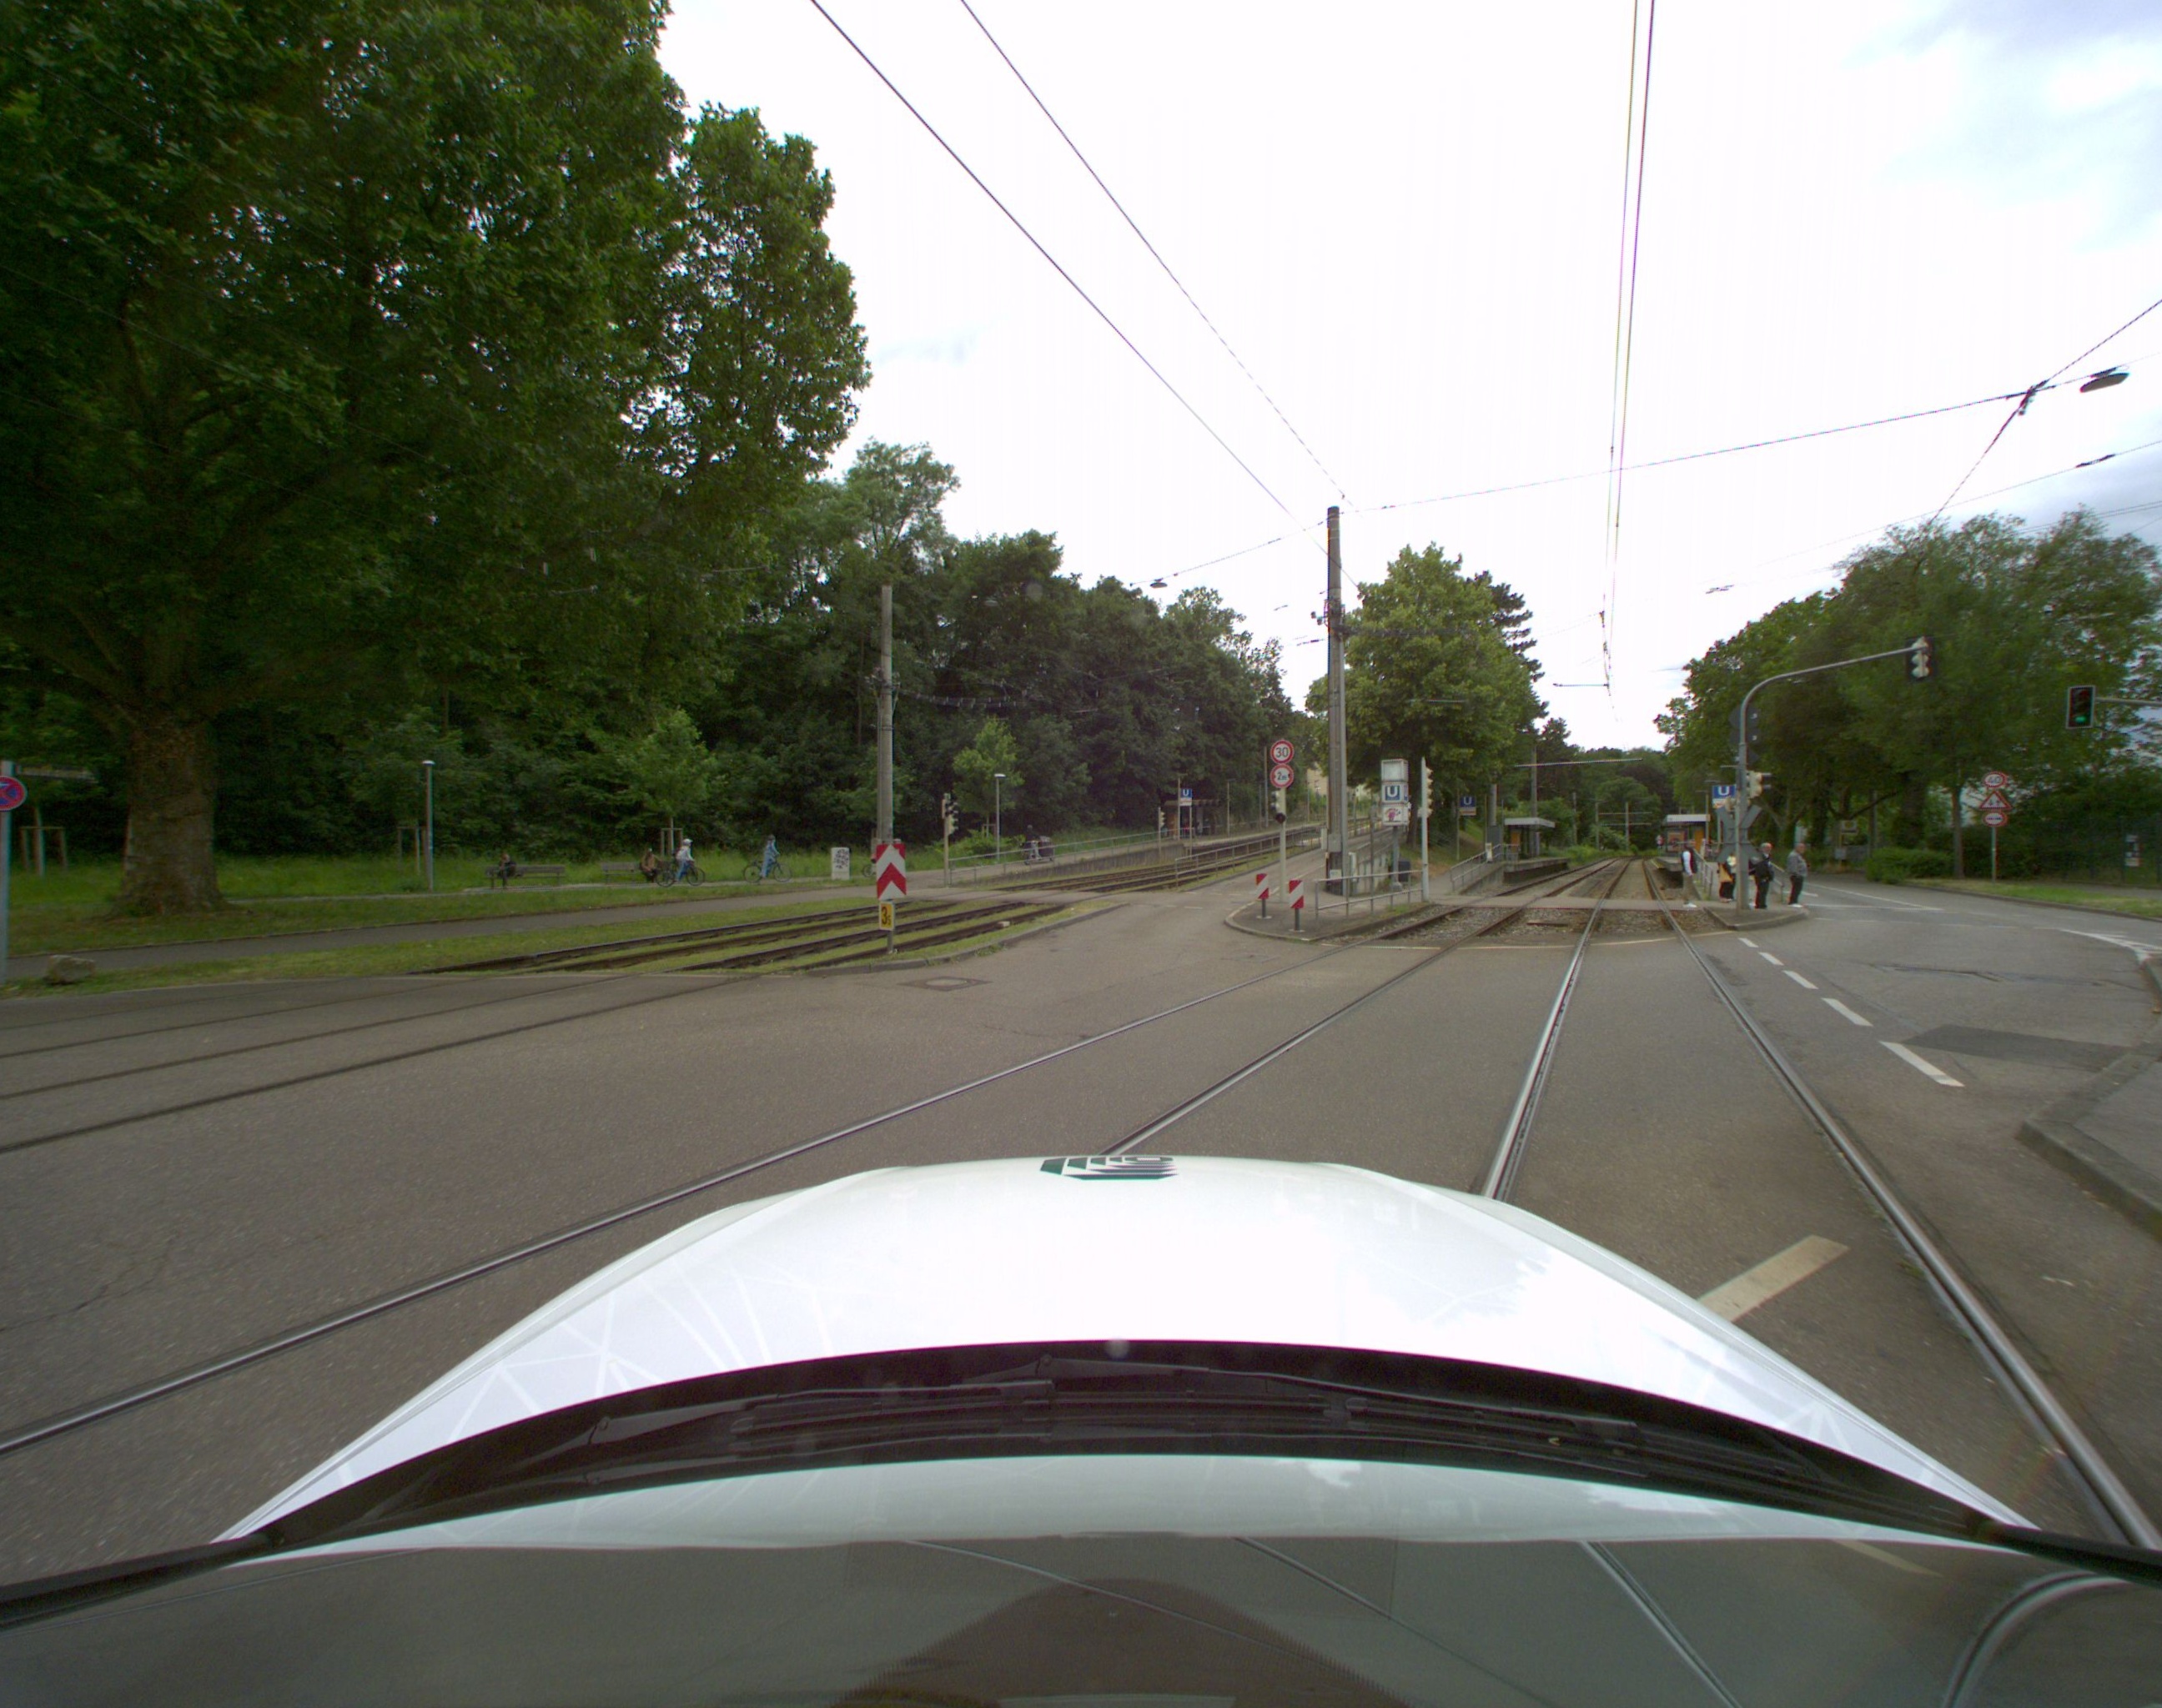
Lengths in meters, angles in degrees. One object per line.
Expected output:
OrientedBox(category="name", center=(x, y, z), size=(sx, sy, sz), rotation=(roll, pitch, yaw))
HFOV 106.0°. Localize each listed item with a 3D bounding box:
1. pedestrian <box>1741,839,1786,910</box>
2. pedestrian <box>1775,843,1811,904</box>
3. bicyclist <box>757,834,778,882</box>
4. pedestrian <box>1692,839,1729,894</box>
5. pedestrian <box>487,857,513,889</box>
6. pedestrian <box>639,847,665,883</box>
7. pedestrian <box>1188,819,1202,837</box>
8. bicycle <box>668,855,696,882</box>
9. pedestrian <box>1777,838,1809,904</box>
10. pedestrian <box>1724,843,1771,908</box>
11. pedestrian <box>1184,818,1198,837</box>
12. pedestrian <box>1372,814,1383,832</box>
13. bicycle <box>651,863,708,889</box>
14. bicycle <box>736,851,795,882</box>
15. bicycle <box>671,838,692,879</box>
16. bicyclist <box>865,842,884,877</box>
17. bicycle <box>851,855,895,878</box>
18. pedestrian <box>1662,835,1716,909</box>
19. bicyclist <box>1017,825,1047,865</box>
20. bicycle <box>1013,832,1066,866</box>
OrientedBox(category="pedestrian", center=(16.619, 0.484, 19.849), size=(0.728, 1.664, 0.686), rotation=(3, 2, 36))
OrientedBox(category="pedestrian", center=(20.150, 0.546, 23.038), size=(0.673, 1.664, 0.742), rotation=(4, 2, 42))
OrientedBox(category="bicyclist", center=(-11.237, 0.119, 29.188), size=(0.625, 1.674, 0.471), rotation=(-1, 4, -31))
OrientedBox(category="pedestrian", center=(19.791, 0.390, 25.620), size=(0.728, 1.664, 0.685), rotation=(3, 2, 24))
OrientedBox(category="pedestrian", center=(-18.667, 0.611, 26.155), size=(0.623, 0.989, 0.526), rotation=(1, 2, -41))
OrientedBox(category="pedestrian", center=(-15.179, 0.390, 28.800), size=(0.677, 1.235, 0.573), rotation=(1, 2, -42))
OrientedBox(category="pedestrian", center=(8.565, -1.937, 60.959), size=(0.765, 1.326, 0.792), rotation=(3, 2, 27))
OrientedBox(category="bicycle", center=(-14.531, 0.526, 29.631), size=(0.625, 0.885, 1.728), rotation=(1, 2, -36))
OrientedBox(category="pedestrian", center=(19.598, 0.453, 22.428), size=(0.544, 1.758, 0.742), rotation=(3, 2, 39))
OrientedBox(category="pedestrian", center=(17.817, 0.553, 21.794), size=(0.674, 1.664, 0.741), rotation=(3, 2, 17))
OrientedBox(category="pedestrian", center=(8.093, -1.955, 59.870), size=(0.765, 1.325, 0.792), rotation=(3, 4, 27))
OrientedBox(category="pedestrian", center=(24.318, -2.566, 66.775), size=(0.735, 1.408, 0.751), rotation=(3, 6, 27))
OrientedBox(category="bicycle", center=(-13.480, 0.731, 27.369), size=(1.662, 0.738, 0.449), rotation=(-3, 5, -42))
OrientedBox(category="bicycle", center=(-11.292, 0.440, 29.179), size=(1.951, 1.040, 0.471), rotation=(-1, 4, -31))
OrientedBox(category="bicycle", center=(-13.423, 0.138, 27.374), size=(0.519, 1.329, 0.450), rotation=(-3, 5, -41))
OrientedBox(category="bicyclist", center=(-8.039, 0.193, 31.702), size=(0.583, 1.300, 0.451), rotation=(-3, 6, -29))
OrientedBox(category="bicycle", center=(-8.096, 0.485, 31.691), size=(1.563, 0.738, 0.451), rotation=(-3, 6, -30))
OrientedBox(category="pedestrian", center=(15.658, 0.450, 20.981), size=(0.800, 1.820, 0.670), rotation=(2, 1, -1))
OrientedBox(category="bicyclist", center=(-2.223, -0.427, 37.022), size=(0.726, 1.710, 1.301), rotation=(3, 6, 30))
OrientedBox(category="bicycle", center=(-1.883, -0.267, 37.616), size=(0.726, 1.289, 3.369), rotation=(3, 6, 30))
